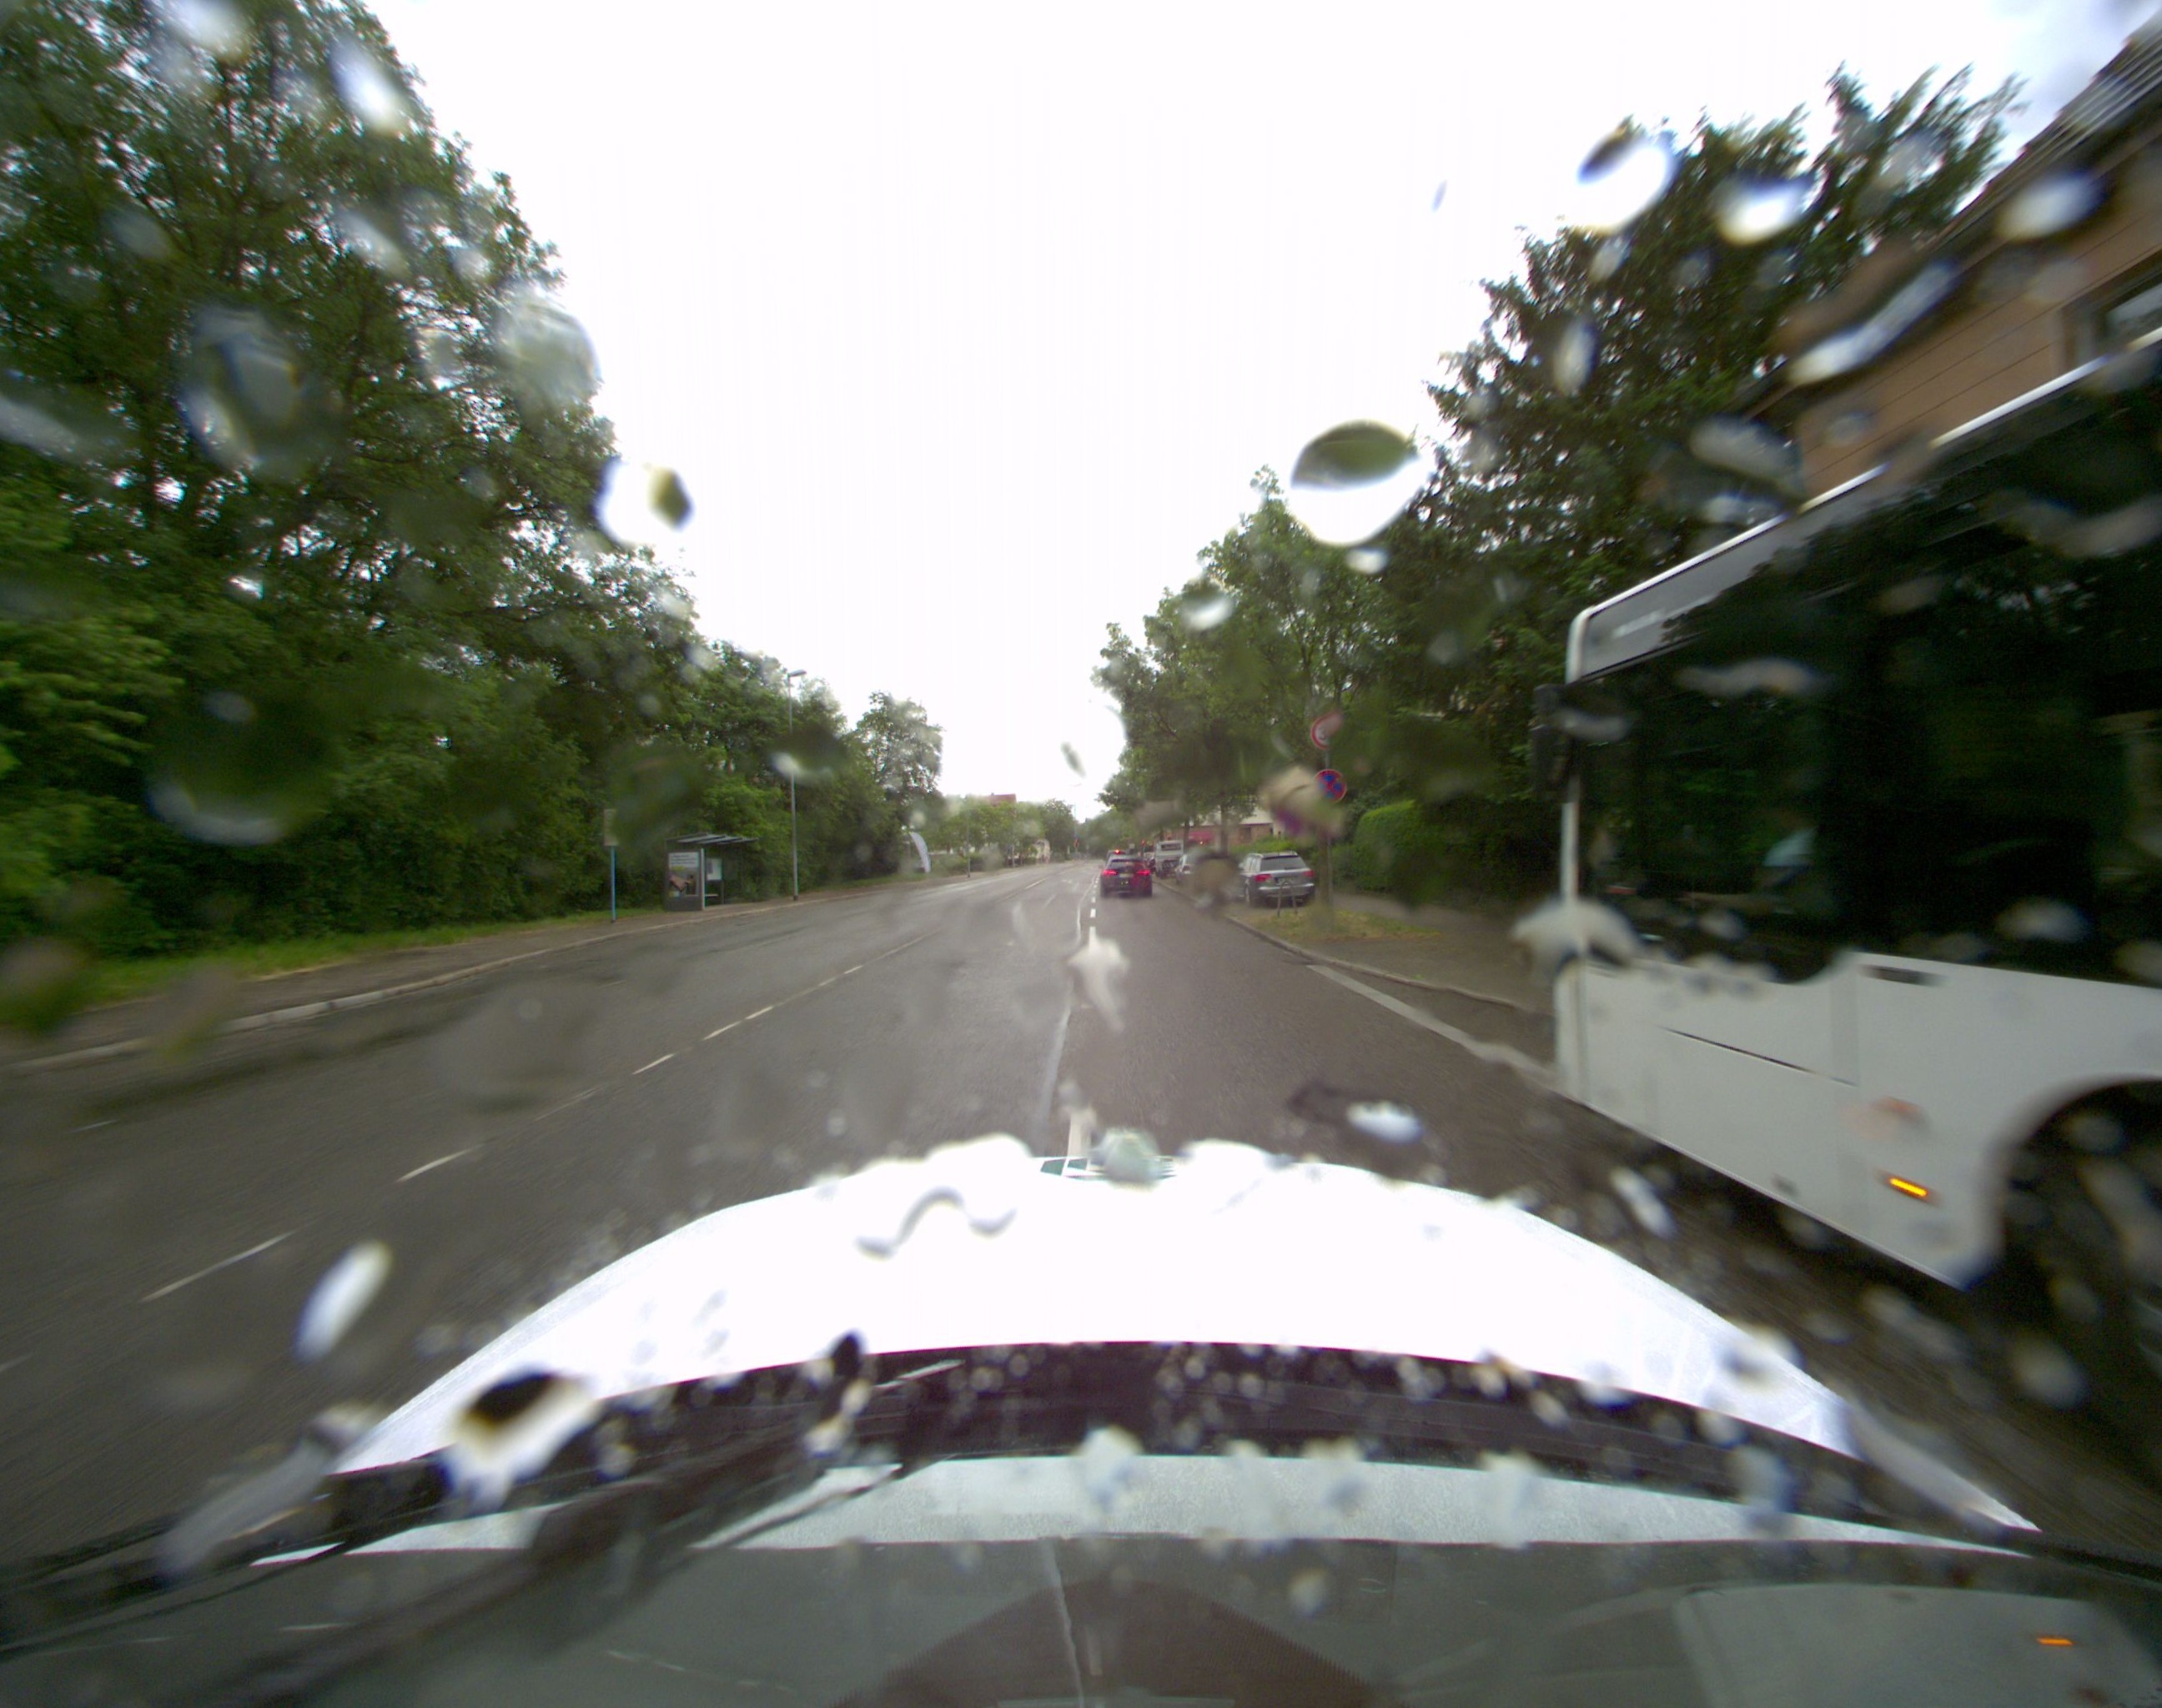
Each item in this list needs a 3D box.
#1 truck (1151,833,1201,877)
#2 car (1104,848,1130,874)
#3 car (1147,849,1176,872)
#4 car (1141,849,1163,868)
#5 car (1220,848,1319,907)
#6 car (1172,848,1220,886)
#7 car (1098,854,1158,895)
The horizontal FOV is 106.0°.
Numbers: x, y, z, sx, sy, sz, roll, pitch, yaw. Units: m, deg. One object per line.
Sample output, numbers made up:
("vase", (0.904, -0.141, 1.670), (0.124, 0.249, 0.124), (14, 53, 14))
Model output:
("truck", (5.392, 0.054, 47.047), (2.073, 2.221, 6.502), (-5, 0, 1))
("car", (2.617, 0.466, 59.981), (1.778, 1.817, 4.000), (-1, 0, 1))
("car", (5.735, 0.464, 58.580), (1.707, 1.498, 4.186), (-4, 0, 2))
("car", (6.435, 0.394, 74.165), (1.578, 1.490, 3.627), (-5, 0, 0))
("car", (5.140, 0.581, 22.793), (1.682, 1.389, 4.500), (-4, 0, 1))
("car", (5.085, 0.532, 36.408), (1.595, 1.436, 4.024), (-5, 0, 2))
("car", (1.696, 0.720, 31.071), (2.057, 1.446, 4.483), (-1, 0, 0))
